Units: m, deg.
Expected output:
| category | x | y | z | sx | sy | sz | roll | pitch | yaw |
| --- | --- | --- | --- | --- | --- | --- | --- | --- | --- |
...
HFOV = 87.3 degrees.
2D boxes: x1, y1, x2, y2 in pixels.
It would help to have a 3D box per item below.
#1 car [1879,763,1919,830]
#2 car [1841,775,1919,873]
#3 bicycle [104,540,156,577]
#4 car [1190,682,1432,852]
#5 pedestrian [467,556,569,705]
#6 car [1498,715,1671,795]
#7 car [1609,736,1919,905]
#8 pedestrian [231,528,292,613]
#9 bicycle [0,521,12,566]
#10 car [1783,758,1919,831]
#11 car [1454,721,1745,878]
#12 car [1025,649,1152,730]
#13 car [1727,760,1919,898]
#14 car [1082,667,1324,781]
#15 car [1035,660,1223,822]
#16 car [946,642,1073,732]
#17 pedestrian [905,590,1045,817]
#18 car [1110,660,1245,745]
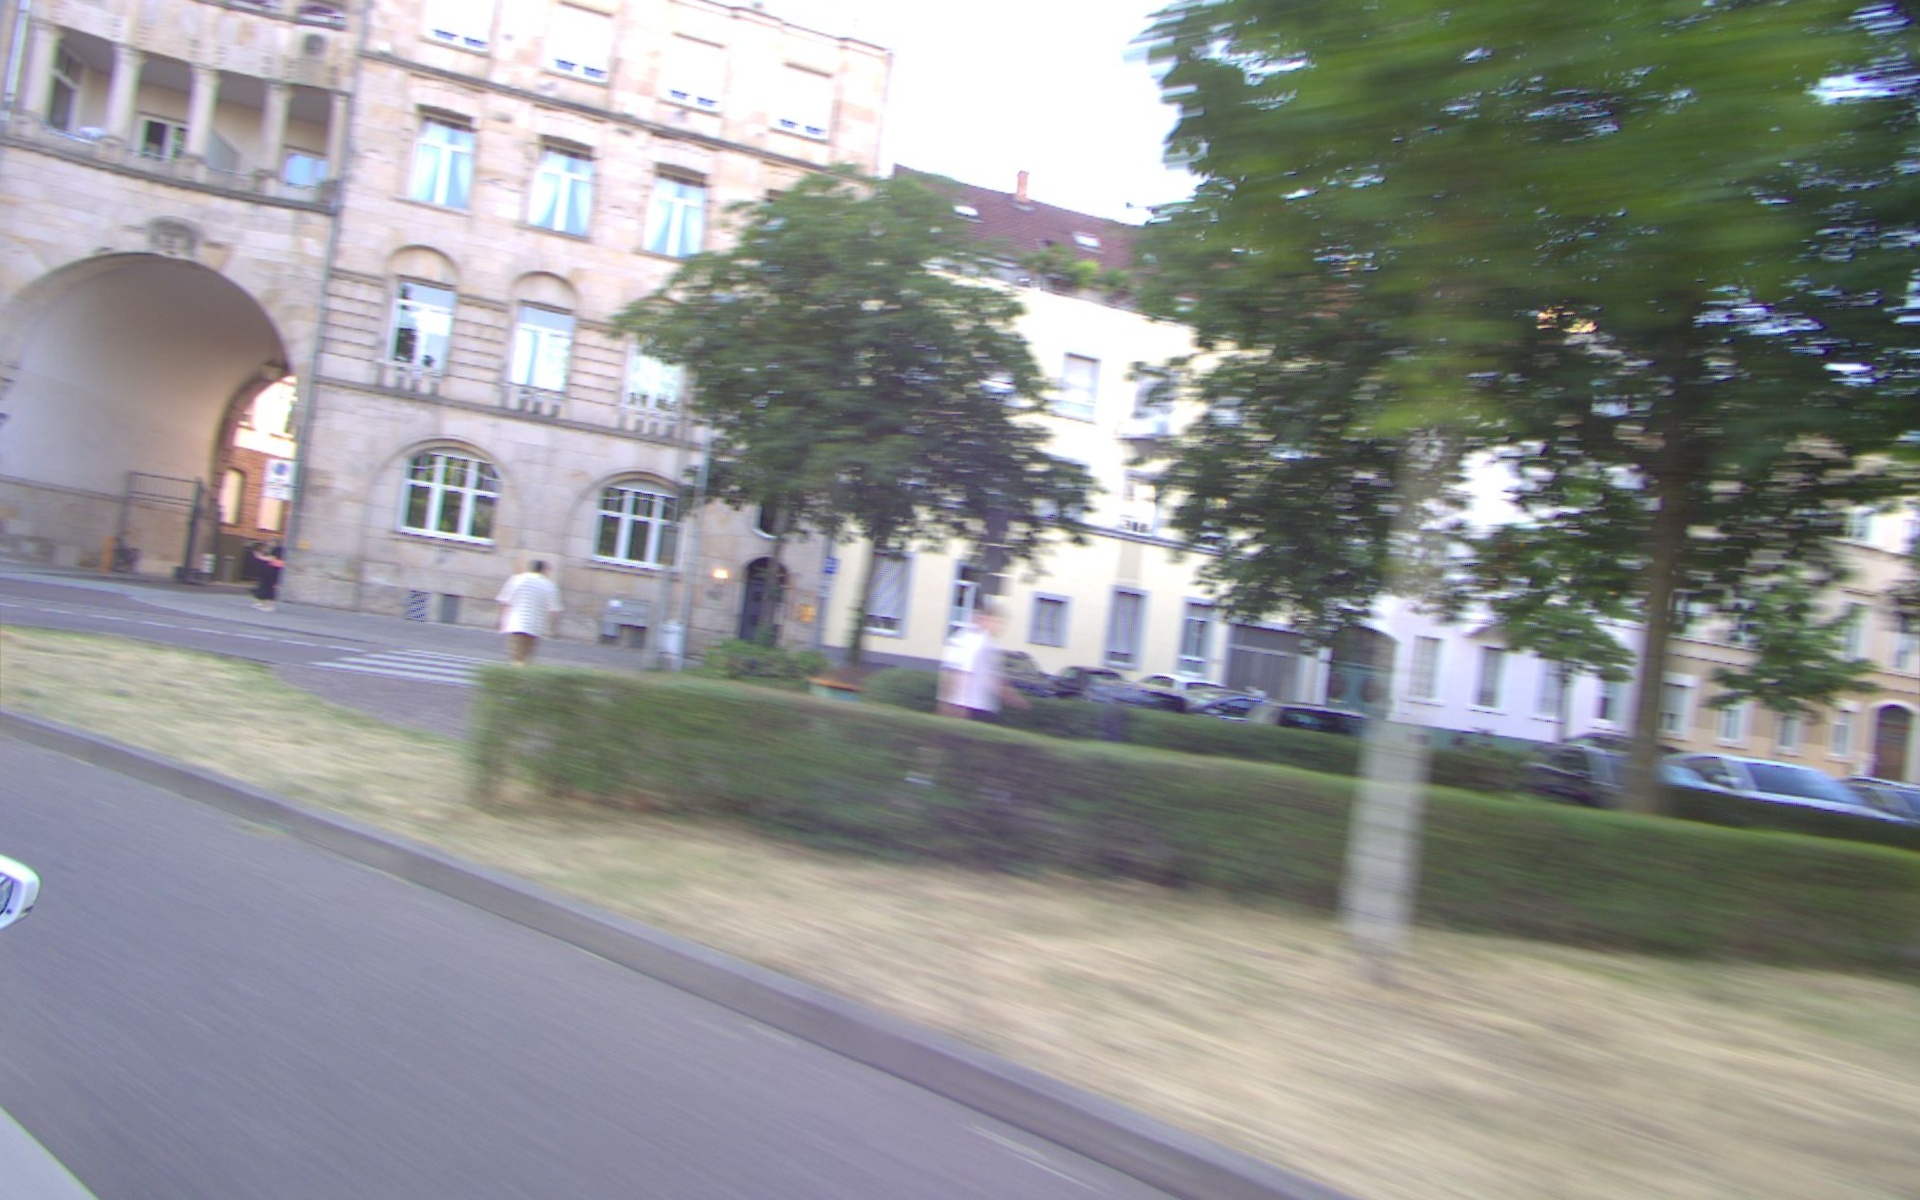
| category | x | y | z | sx | sy | sz | roll | pitch | yaw |
| --- | --- | --- | --- | --- | --- | --- | --- | --- | --- |
| car | 26.198 | 5.342 | 25.782 | 4.266 | 1.548 | 1.961 | 9 | -2 | -18 |
| car | 18.511 | 4.315 | 17.918 | 1.963 | 1.569 | 4.071 | 9 | -2 | 2 |
| bicycle | -24.348 | -1.204 | 29.522 | 0.474 | 0.966 | 1.508 | 9 | -2 | -14 |
| car | 4.640 | 2.154 | 14.000 | 1.831 | 1.574 | 4.071 | 9 | -2 | 2 |
| pedestrian | -5.780 | 0.410 | 13.176 | 0.806 | 1.812 | 0.593 | 8 | -1 | 19 |
| car | 18.594 | 4.594 | 30.193 | 1.970 | 1.569 | 4.058 | 9 | -2 | -14 |
| car | 12.408 | 3.271 | 15.569 | 1.963 | 1.636 | 4.071 | 9 | -2 | 2 |
| pedestrian | -15.145 | -0.623 | 21.836 | 0.710 | 1.729 | 0.576 | 8 | -1 | -10 |
| bicycle | -23.110 | -1.382 | 23.507 | 0.423 | 1.085 | 1.851 | 9 | -2 | -14 |
| car | 28.914 | 6.201 | 32.032 | 1.963 | 1.569 | 4.071 | 9 | -2 | 2 |
| car | 9.952 | 3.038 | 16.126 | 1.963 | 1.569 | 4.071 | 9 | -2 | 2 |
| car | 3.200 | 2.224 | 25.867 | 1.809 | 1.502 | 4.060 | 9 | -2 | -12 |
| car | 15.048 | 3.768 | 16.332 | 1.963 | 1.569 | 4.071 | 9 | -2 | 2 |
| car | 4.647 | 2.370 | 19.264 | 4.082 | 1.499 | 1.812 | 10 | -2 | -22 |
| car | 2.175 | 1.805 | 14.046 | 1.831 | 1.574 | 4.071 | 9 | -2 | 2 |
| car | 1.077 | 2.024 | 24.352 | 1.809 | 1.575 | 4.391 | 9 | -2 | -12 |
| pedestrian | 0.146 | 0.857 | 8.545 | 0.771 | 1.735 | 0.770 | 8 | -1 | 16 |
| car | 5.540 | 2.602 | 26.212 | 1.808 | 1.588 | 4.061 | 9 | -2 | -11 |
